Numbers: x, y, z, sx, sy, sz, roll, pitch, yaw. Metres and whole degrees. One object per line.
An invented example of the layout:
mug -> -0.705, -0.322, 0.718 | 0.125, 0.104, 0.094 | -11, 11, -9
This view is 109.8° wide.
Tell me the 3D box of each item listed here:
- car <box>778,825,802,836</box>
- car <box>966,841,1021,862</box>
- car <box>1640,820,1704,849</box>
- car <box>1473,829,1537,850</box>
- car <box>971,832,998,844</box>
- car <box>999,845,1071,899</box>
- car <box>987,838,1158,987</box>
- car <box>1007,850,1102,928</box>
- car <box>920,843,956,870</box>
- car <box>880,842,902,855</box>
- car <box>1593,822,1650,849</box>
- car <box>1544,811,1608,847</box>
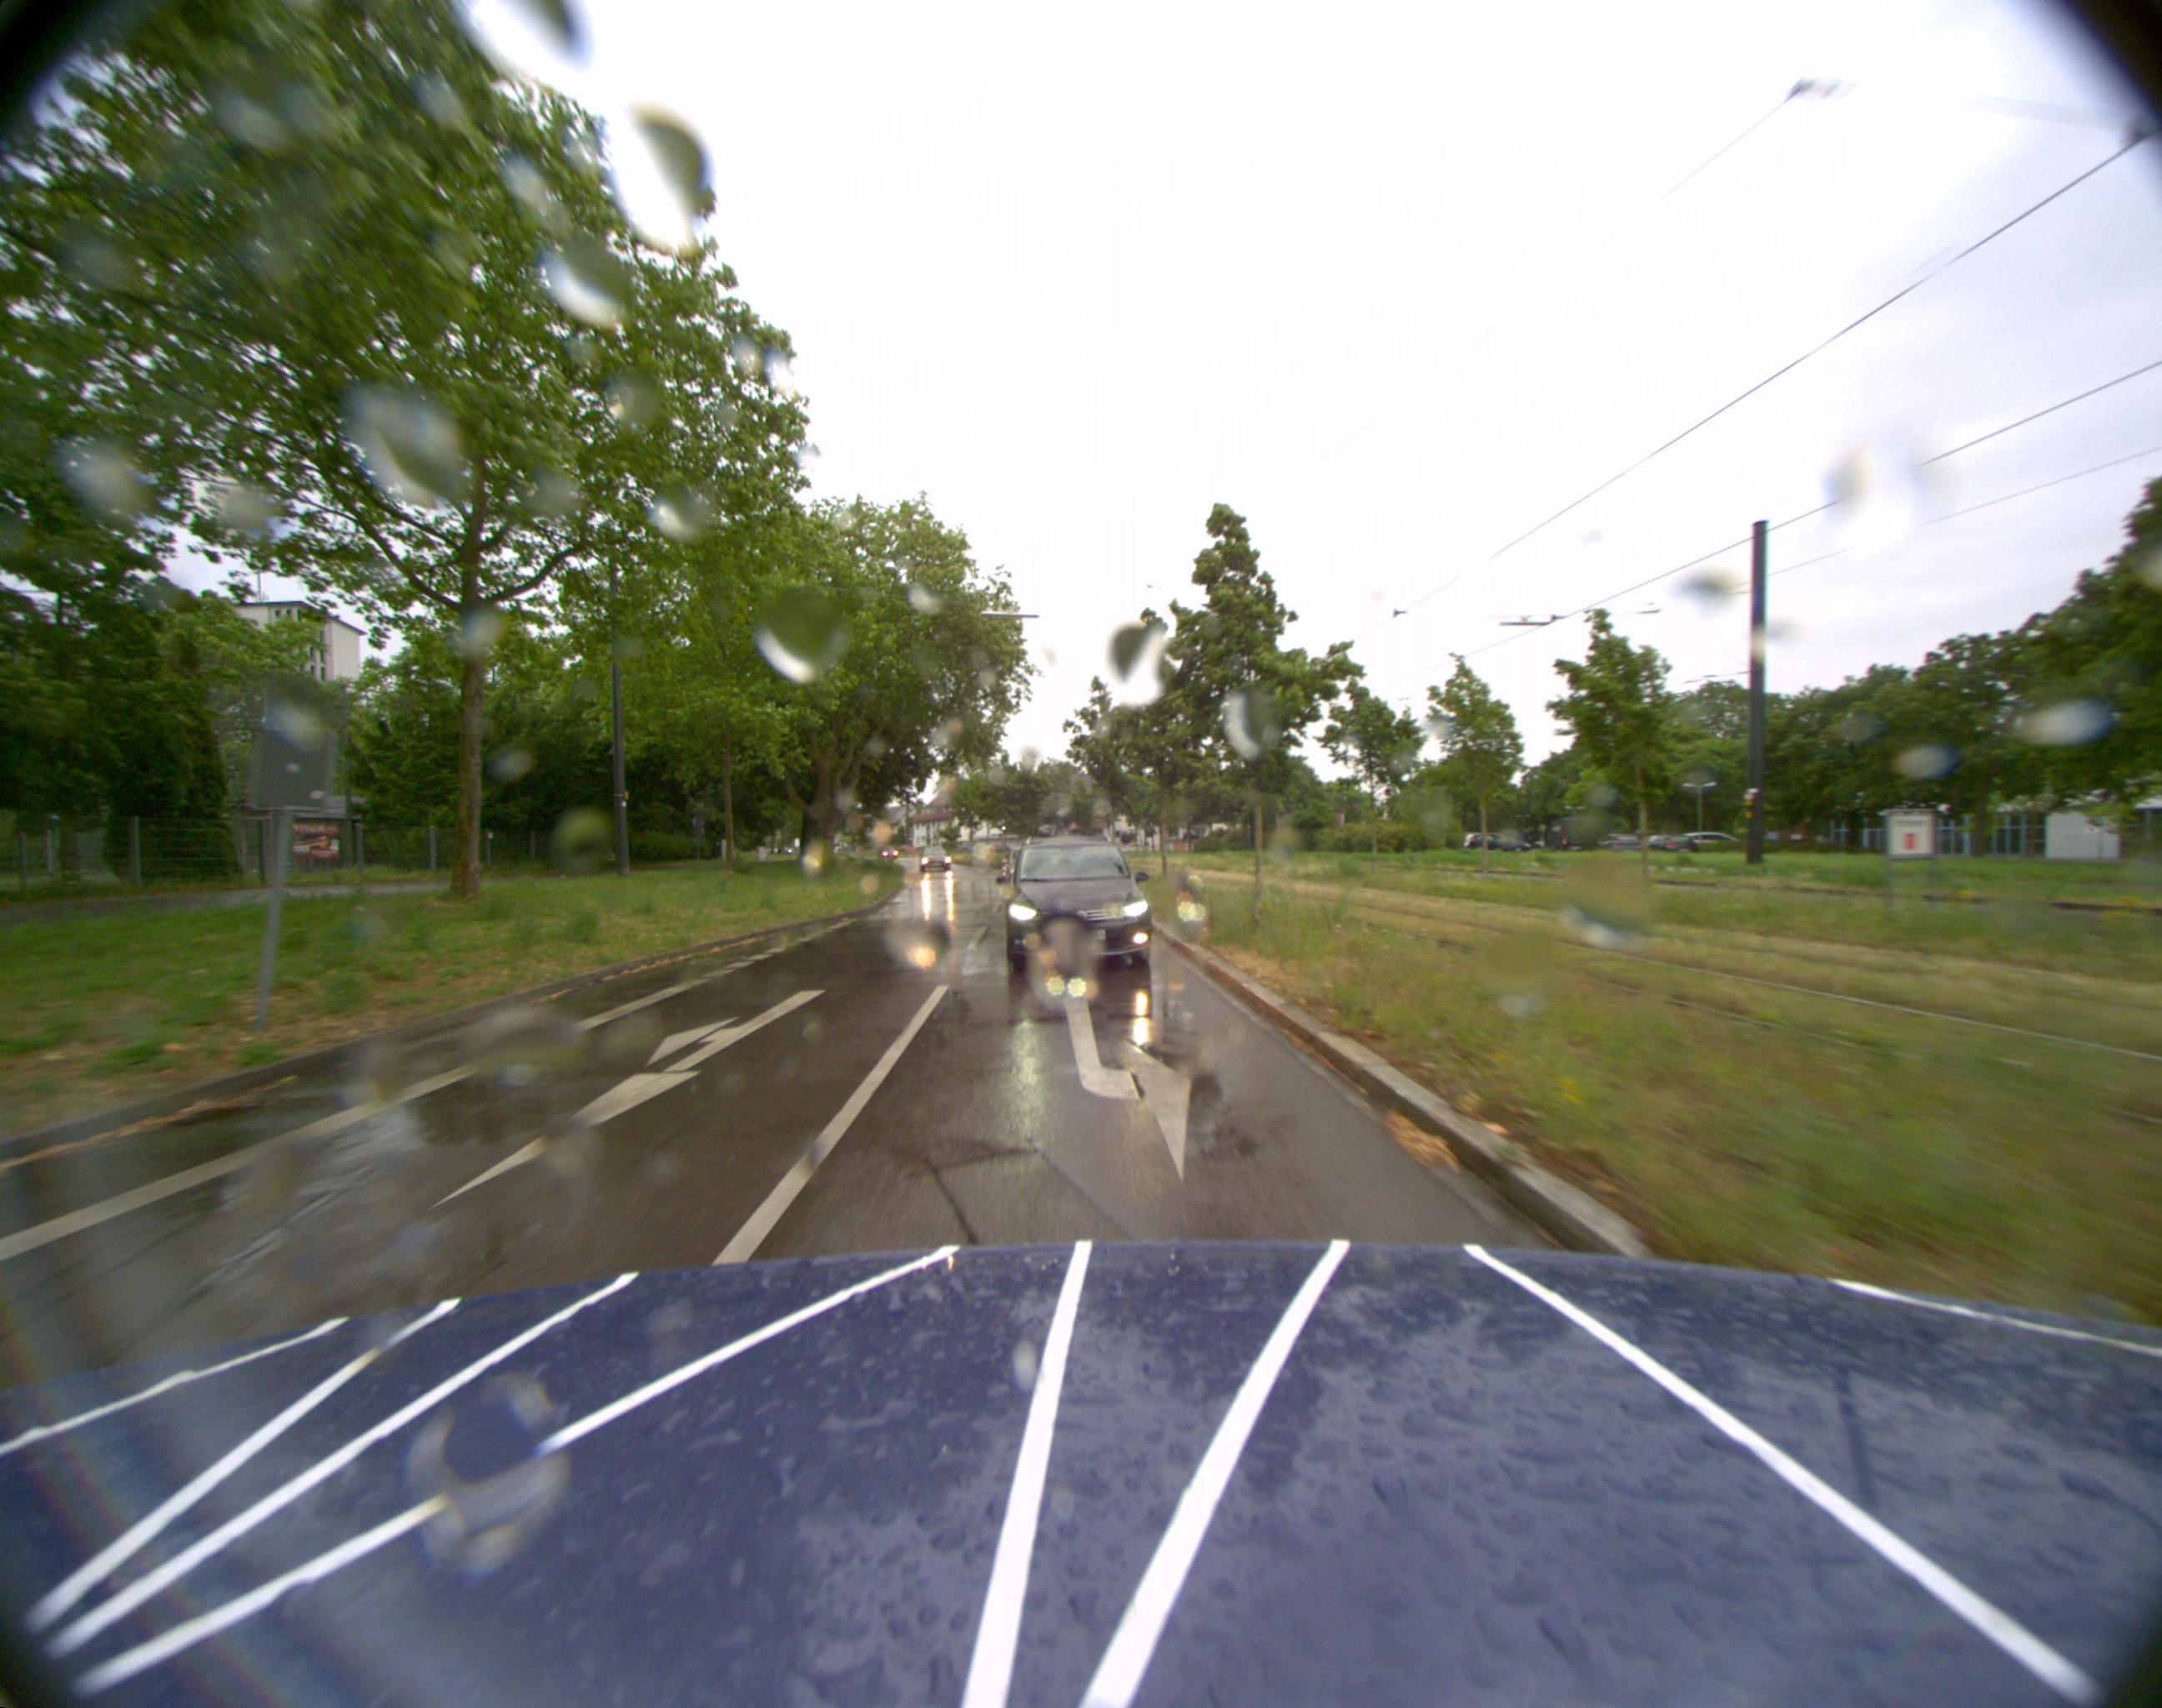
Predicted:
car -> -56.255, -4.544, 146.974 | 4.005, 1.816, 1.995 | -3, 2, -26
car -> -6.831, -0.209, 59.188 | 4.046, 1.412, 1.673 | -3, 2, -12
car -> 35.182, -1.196, 45.359 | 2.057, 1.564, 5.023 | -1, 2, 27
car -> 32.763, -1.133, 58.846 | 4.172, 1.474, 1.786 | -2, 2, 25
car -> -16.011, -2.637, 126.267 | 4.006, 1.791, 1.888 | -4, 1, -36
car -> -1.470, 0.474, 22.923 | 1.789, 1.396, 3.790 | -3, 2, -9
car -> -0.157, 0.611, 10.829 | 1.866, 1.592, 4.523 | -2, 2, -2
car -> -0.645, 0.661, 16.714 | 1.789, 1.355, 3.995 | -2, 2, -4
car -> -9.177, 0.127, 48.439 | 1.874, 1.609, 3.803 | -3, 2, -15
car -> -21.199, -0.620, 84.621 | 1.791, 1.373, 3.857 | -3, 2, -22
car -> 32.968, -1.165, 46.491 | 1.752, 1.522, 4.855 | -2, 2, 22
car -> 30.315, -1.560, 46.701 | 2.307, 2.002, 5.124 | -2, 2, 22
